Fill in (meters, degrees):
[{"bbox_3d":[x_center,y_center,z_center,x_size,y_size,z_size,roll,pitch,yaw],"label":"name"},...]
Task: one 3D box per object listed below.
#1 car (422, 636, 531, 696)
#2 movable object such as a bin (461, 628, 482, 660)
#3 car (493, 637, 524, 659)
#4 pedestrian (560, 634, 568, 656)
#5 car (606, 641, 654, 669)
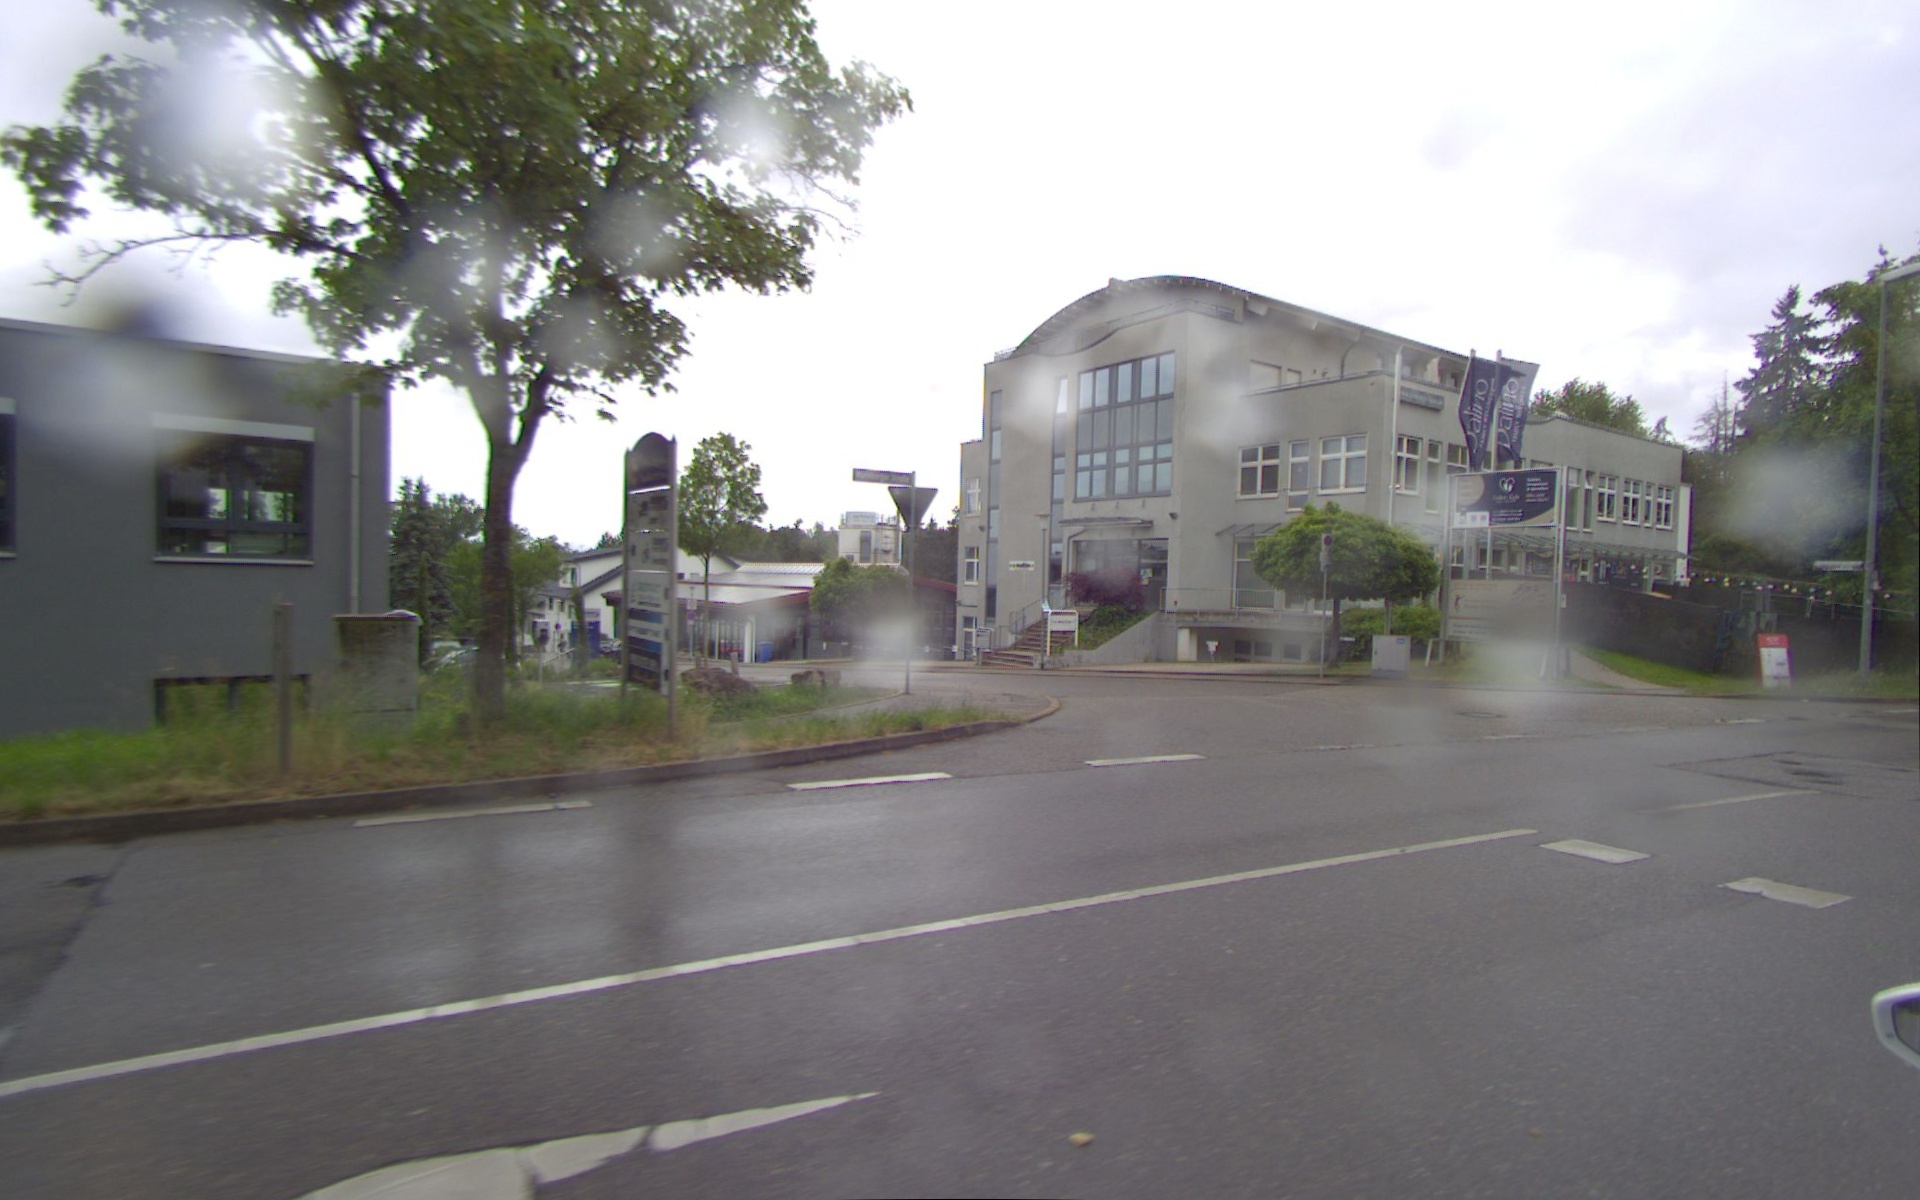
[{"bbox_3d":[-17.334,2.331,36.028,3.169,1.574,1.493,-10,4,-34],"label":"car"},{"bbox_3d":[-33.471,3.009,68.820,1.103,2.174,1.249,2,-1,-35],"label":"movable object such as a bin"},{"bbox_3d":[-43.447,4.600,96.560,1.980,2.040,3.961,2,-1,-35],"label":"car"},{"bbox_3d":[-27.564,3.135,69.967,0.405,1.541,0.417,1,-1,-38],"label":"pedestrian"},{"bbox_3d":[-20.543,3.406,62.487,1.792,1.599,3.961,2,-1,-35],"label":"car"}]
